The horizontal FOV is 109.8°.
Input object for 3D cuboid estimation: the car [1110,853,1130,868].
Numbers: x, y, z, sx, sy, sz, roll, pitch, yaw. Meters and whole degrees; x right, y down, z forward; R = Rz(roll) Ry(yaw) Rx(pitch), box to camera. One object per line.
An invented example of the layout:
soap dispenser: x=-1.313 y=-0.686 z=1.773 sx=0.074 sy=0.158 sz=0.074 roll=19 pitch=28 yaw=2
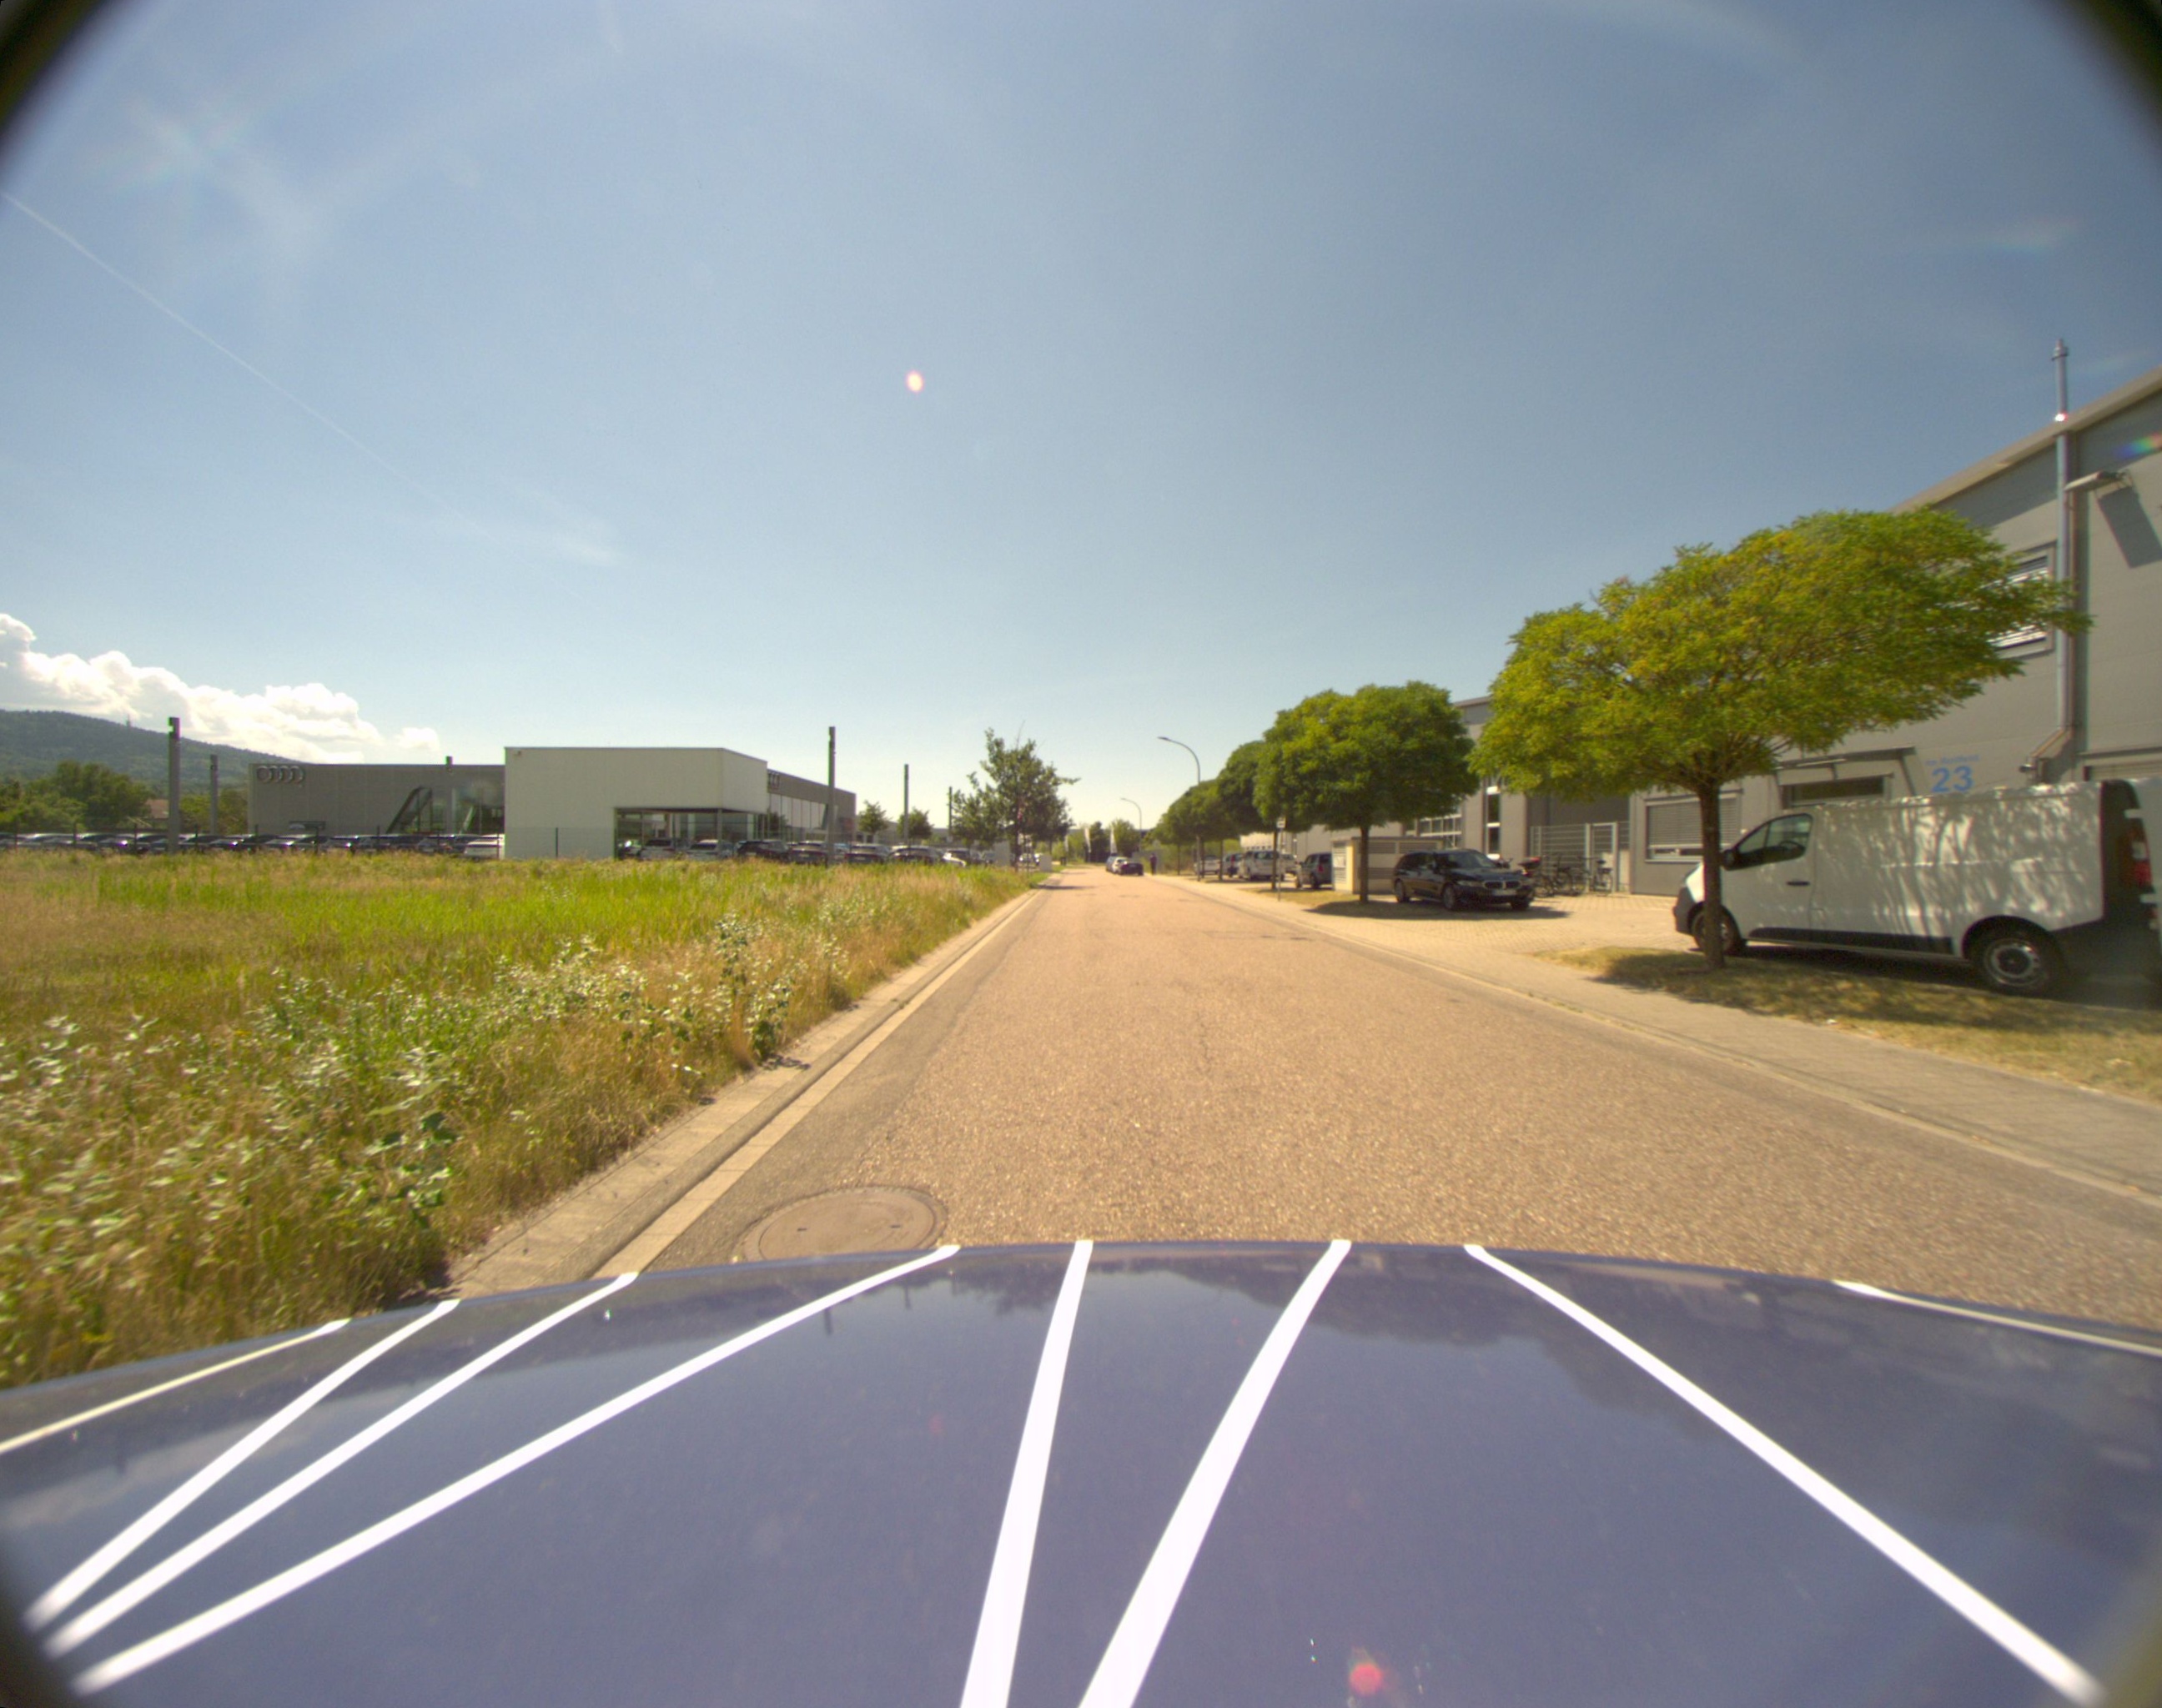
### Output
car: x=3.948 y=0.630 z=77.155 sx=1.829 sy=1.491 sz=4.520 roll=0 pitch=0 yaw=0

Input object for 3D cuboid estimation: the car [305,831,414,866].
car: x=-38.354 y=-0.311 z=40.544 sx=1.998 sy=1.774 sz=3.999 roll=0 pitch=1 yaw=0

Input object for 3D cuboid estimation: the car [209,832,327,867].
car: x=-43.333 y=-0.244 z=40.656 sx=1.998 sy=1.774 sz=3.999 roll=0 pitch=1 yaw=0

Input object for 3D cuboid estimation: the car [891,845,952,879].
car: x=-8.488 y=0.393 z=40.901 sx=2.029 sy=1.683 sz=5.108 roll=2 pitch=0 yaw=2

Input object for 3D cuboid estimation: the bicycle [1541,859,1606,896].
bicycle: x=14.000 y=0.656 z=21.675 sx=0.436 sy=0.972 sz=2.064 roll=-2 pitch=0 yaw=-1

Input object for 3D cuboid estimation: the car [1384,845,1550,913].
car: x=9.507 y=0.549 z=19.201 sx=1.770 sy=1.445 sz=4.714 roll=-2 pitch=0 yaw=0

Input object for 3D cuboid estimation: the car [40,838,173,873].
car: x=-52.147 y=0.038 z=40.796 sx=1.998 sy=1.774 sz=3.999 roll=0 pitch=1 yaw=0

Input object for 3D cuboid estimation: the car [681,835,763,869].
car: x=-19.210 y=-0.108 z=40.953 sx=2.029 sy=1.644 sz=4.809 roll=2 pitch=0 yaw=2

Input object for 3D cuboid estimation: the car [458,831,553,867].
car: x=-30.511 y=-0.261 z=40.451 sx=1.998 sy=1.774 sz=3.999 roll=0 pitch=1 yaw=0

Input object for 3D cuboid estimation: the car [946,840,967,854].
car: x=-15.359 y=-0.850 z=93.826 sx=1.966 sy=1.604 sz=4.288 roll=2 pitch=0 yaw=-1

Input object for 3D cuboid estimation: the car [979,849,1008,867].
car: x=-7.928 y=0.345 z=69.222 sx=1.966 sy=1.448 sz=4.984 roll=2 pitch=2 yaw=0

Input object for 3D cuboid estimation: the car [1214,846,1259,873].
car: x=9.263 y=0.317 z=45.609 sx=1.687 sy=1.491 sz=3.703 roll=-1 pitch=0 yaw=-5

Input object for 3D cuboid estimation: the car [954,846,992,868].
car: x=-8.156 y=0.216 z=57.722 sx=2.030 sy=1.505 sz=5.239 roll=3 pitch=0 yaw=0

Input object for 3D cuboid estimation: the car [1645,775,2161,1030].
car: x=9.288 y=0.341 z=8.584 sx=1.842 sy=2.007 sz=5.124 roll=-2 pitch=0 yaw=-2

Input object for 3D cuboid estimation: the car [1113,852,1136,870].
car: x=3.746 y=0.580 z=66.310 sx=1.829 sy=1.491 sz=4.258 roll=0 pitch=0 yaw=0

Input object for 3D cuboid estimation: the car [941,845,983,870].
car: x=-8.122 y=0.219 z=52.336 sx=2.030 sy=1.564 sz=4.779 roll=2 pitch=0 yaw=0

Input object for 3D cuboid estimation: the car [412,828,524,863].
car: x=-32.918 y=-0.422 z=41.018 sx=2.029 sy=1.715 sz=4.809 roll=2 pitch=0 yaw=2

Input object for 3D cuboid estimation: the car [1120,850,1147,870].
car: x=4.093 y=0.438 z=60.178 sx=1.829 sy=1.491 sz=4.525 roll=0 pitch=0 yaw=0

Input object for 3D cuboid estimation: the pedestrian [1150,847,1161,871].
pedestrian: x=5.683 y=0.349 z=57.864 sx=0.746 sy=1.791 sz=1.135 roll=-2 pitch=1 yaw=2

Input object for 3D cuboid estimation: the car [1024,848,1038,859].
car: x=-7.422 y=-0.052 z=112.871 sx=1.824 sy=1.519 sz=4.944 roll=2 pitch=0 yaw=-1

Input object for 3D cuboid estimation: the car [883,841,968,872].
car: x=-9.153 y=0.166 z=45.072 sx=4.539 sy=1.683 sz=2.031 roll=2 pitch=0 yaw=2

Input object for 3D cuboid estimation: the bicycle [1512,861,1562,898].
bicycle: x=12.953 y=0.714 z=21.633 sx=0.352 sy=0.972 sz=1.697 roll=-2 pitch=0 yaw=-1

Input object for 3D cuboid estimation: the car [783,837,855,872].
car: x=-13.951 y=0.023 z=40.742 sx=2.029 sy=1.715 sz=4.809 roll=2 pitch=0 yaw=2

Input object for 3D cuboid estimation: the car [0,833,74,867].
car: x=-57.751 y=-0.207 z=40.808 sx=1.998 sy=1.774 sz=3.999 roll=0 pitch=1 yaw=0

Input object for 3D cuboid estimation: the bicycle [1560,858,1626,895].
bicycle: x=14.540 y=0.614 z=21.644 sx=0.436 sy=0.972 sz=2.064 roll=-2 pitch=0 yaw=-1

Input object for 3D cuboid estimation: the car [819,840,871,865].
car: x=-16.123 y=-0.132 z=52.156 sx=2.030 sy=1.580 sz=4.779 roll=2 pitch=0 yaw=0

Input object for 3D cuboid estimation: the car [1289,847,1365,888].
car: x=9.484 y=0.494 z=29.617 sx=1.770 sy=1.445 sz=3.840 roll=-2 pitch=0 yaw=1

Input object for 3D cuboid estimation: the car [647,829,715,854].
car: x=-26.871 y=-0.799 z=51.196 sx=2.030 sy=1.580 sz=4.778 roll=0 pitch=0 yaw=0

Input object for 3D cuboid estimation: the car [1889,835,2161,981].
car: x=11.894 y=0.529 z=8.195 sx=1.932 sy=1.432 sz=4.086 roll=-2 pitch=0 yaw=-1

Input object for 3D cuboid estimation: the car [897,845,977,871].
car: x=-9.010 y=0.257 z=47.707 sx=4.538 sy=1.449 sz=2.032 roll=2 pitch=0 yaw=3

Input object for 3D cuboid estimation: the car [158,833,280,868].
car: x=-45.970 y=-0.186 z=40.669 sx=1.998 sy=1.774 sz=3.999 roll=0 pitch=1 yaw=0

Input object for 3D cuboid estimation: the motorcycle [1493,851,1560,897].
motorcycle: x=11.924 y=0.509 z=20.417 sx=0.516 sy=1.155 sz=2.081 roll=-2 pitch=0 yaw=-1

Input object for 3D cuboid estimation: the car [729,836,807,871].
car: x=-16.630 y=-0.030 z=40.643 sx=2.029 sy=1.670 sz=4.809 roll=2 pitch=0 yaw=2

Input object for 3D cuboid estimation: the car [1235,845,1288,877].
car: x=9.484 y=0.348 z=40.240 sx=1.770 sy=1.564 sz=4.539 roll=-2 pitch=0 yaw=1

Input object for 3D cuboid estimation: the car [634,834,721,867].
car: x=-21.726 y=-0.187 z=41.136 sx=2.029 sy=1.644 sz=4.809 roll=2 pitch=0 yaw=2

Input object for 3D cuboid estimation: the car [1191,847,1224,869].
car: x=9.397 y=0.274 z=56.624 sx=1.828 sy=1.491 sz=4.328 roll=-2 pitch=0 yaw=2

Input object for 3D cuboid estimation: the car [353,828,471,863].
car: x=-35.787 y=-0.414 z=40.855 sx=2.029 sy=1.715 sz=4.809 roll=2 pitch=0 yaw=2

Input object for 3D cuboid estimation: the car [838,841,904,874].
car: x=-11.109 y=0.158 z=40.600 sx=2.029 sy=1.601 sz=4.809 roll=2 pitch=0 yaw=2

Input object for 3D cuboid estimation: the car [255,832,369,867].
car: x=-40.952 y=-0.261 z=40.623 sx=1.998 sy=1.774 sz=3.999 roll=0 pitch=1 yaw=0
